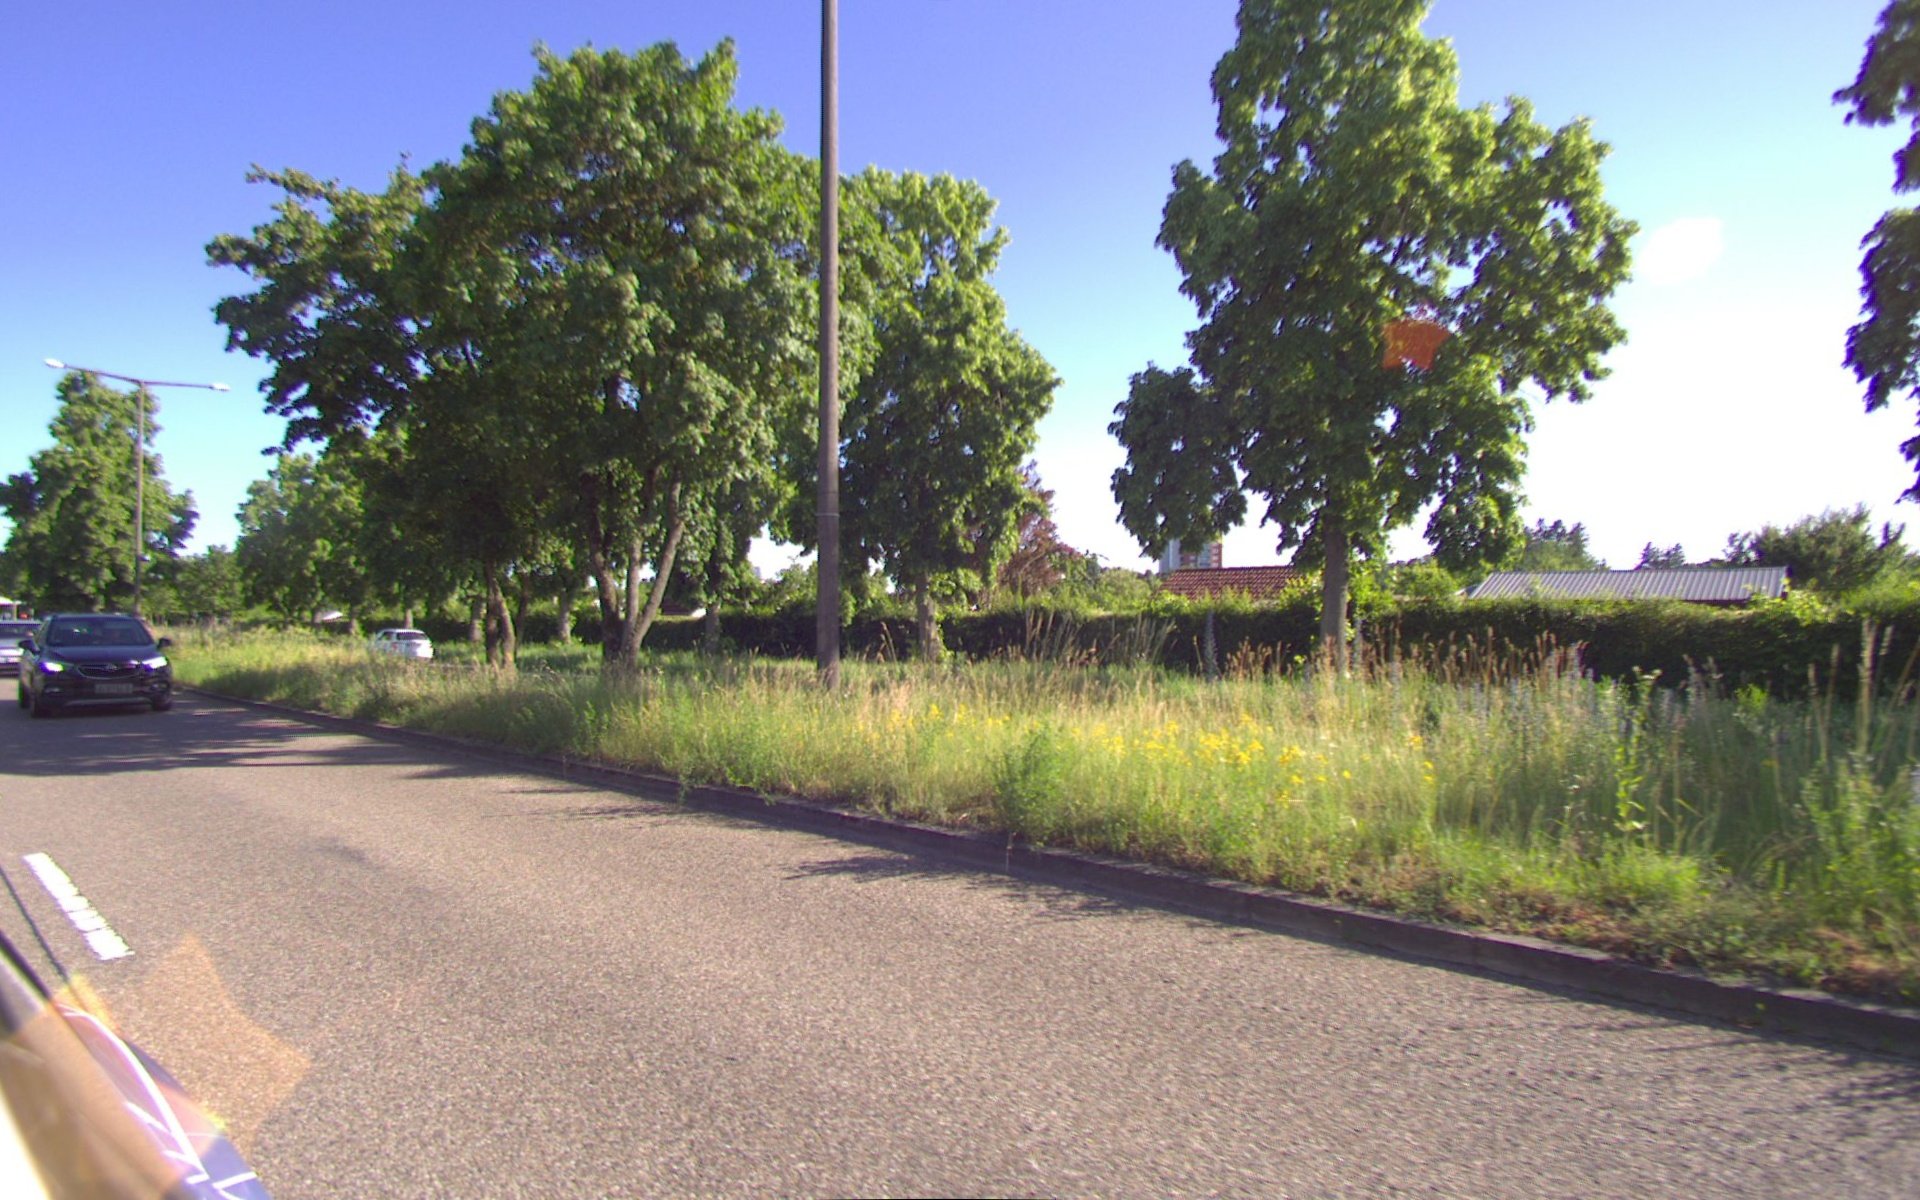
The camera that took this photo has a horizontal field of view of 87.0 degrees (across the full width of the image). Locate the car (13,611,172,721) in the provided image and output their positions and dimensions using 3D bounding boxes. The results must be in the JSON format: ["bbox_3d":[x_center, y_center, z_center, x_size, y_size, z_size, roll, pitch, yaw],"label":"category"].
[{"bbox_3d":[-14.970,1.020,17.366,1.785,1.627,4.518,2,-1,-44],"label":"car"}]

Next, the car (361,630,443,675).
[{"bbox_3d":[-23.196,2.124,42.008,4.002,1.669,1.916,-1,0,45],"label":"car"}]

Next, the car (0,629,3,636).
[{"bbox_3d":[-168.366,5.679,176.359,3.500,1.297,1.613,-1,-2,35],"label":"car"}]

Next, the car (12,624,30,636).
[{"bbox_3d":[-143.464,4.565,154.640,3.571,1.818,1.609,-1,-2,42],"label":"car"}]

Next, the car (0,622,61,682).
[{"bbox_3d":[-27.054,1.437,28.823,4.647,1.574,1.799,-1,-2,44],"label":"car"}]
